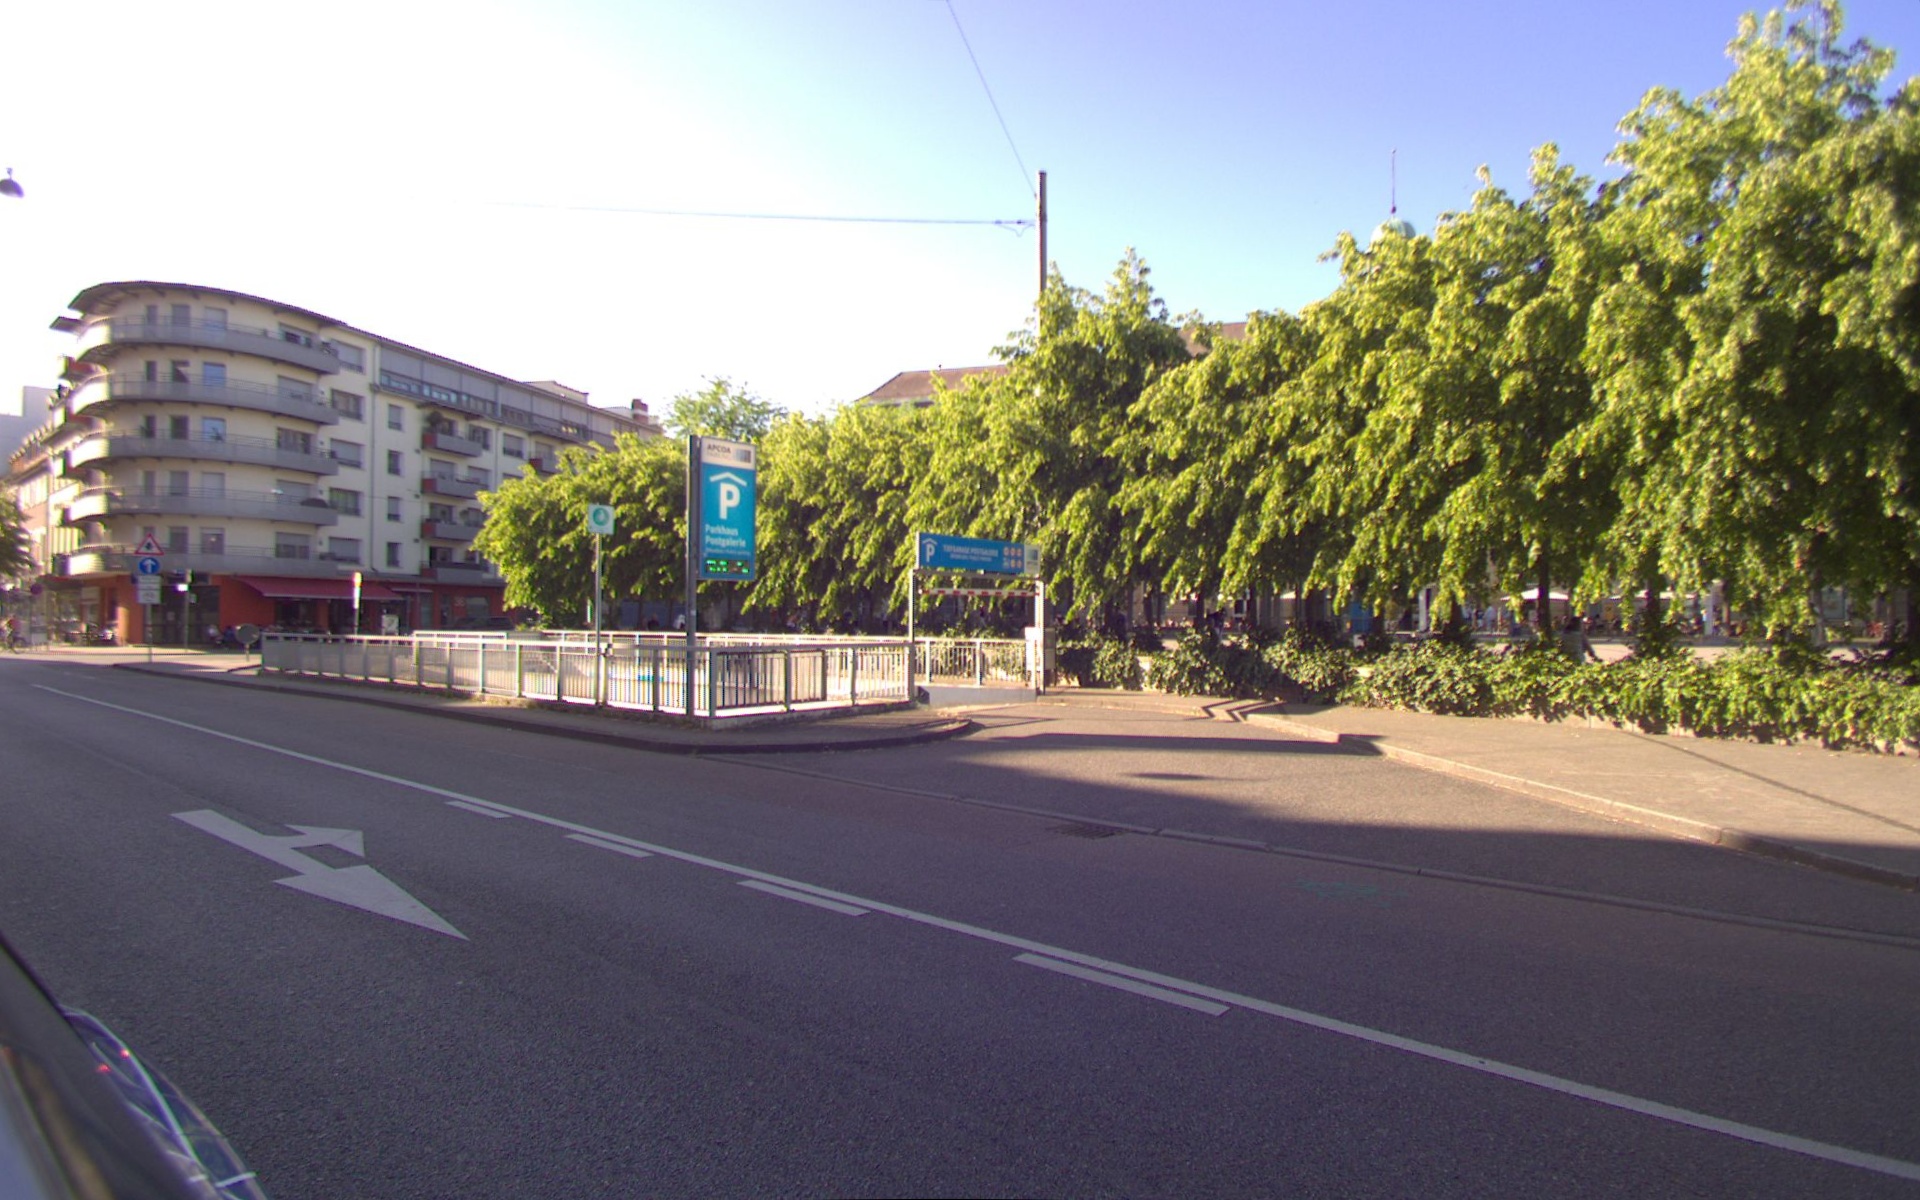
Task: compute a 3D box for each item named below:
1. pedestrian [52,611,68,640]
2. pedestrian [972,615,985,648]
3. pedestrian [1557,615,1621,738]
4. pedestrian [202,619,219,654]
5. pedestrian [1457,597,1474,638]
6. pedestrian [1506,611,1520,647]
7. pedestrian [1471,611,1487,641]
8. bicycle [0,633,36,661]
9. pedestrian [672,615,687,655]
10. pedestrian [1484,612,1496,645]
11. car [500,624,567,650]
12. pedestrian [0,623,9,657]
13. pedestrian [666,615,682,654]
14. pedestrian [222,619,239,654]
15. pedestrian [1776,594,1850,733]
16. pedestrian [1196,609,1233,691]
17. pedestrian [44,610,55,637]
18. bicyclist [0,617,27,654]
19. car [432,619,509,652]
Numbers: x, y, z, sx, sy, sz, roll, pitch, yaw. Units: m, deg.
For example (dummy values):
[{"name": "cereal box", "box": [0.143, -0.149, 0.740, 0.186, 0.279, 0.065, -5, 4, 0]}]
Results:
[{"name": "pedestrian", "box": [-51.026, 1.454, 57.382, 0.792, 1.634, 0.563, -1, -1, 37]}, {"name": "pedestrian", "box": [1.043, 1.767, 57.149, 0.578, 1.806, 0.597, -1, 0, 20]}, {"name": "pedestrian", "box": [9.874, 1.174, 15.881, 0.732, 1.870, 0.574, -1, -1, 44]}, {"name": "pedestrian", "box": [-37.438, 1.806, 50.559, 0.642, 1.721, 0.568, -2, -2, 43]}, {"name": "pedestrian", "box": [22.703, 0.780, 45.462, 0.599, 1.806, 0.576, -1, -1, 31]}, {"name": "pedestrian", "box": [28.533, 1.500, 52.238, 0.580, 1.806, 0.596, -1, 0, 27]}, {"name": "pedestrian", "box": [30.979, 1.537, 60.415, 0.593, 1.806, 0.583, -1, 0, 0]}, {"name": "bicycle", "box": [-42.634, 2.084, 45.326, 1.848, 1.221, 0.713, -1, -1, 2]}, {"name": "pedestrian", "box": [-12.851, 1.597, 46.340, 0.574, 1.806, 0.602, 0, 0, -5]}, {"name": "pedestrian", "box": [29.231, 1.569, 55.820, 0.598, 1.806, 0.577, -1, 0, 27]}, {"name": "car", "box": [-28.885, 2.482, 68.610, 1.938, 1.633, 4.272, -1, -1, 16]}, {"name": "pedestrian", "box": [-46.800, 1.944, 49.156, 0.695, 1.627, 0.765, -1, -1, 37]}, {"name": "pedestrian", "box": [-13.262, 1.604, 46.956, 0.574, 1.806, 0.602, 0, 0, -5]}, {"name": "pedestrian", "box": [-36.777, 1.826, 51.001, 0.642, 1.721, 0.568, -2, -2, 43]}, {"name": "pedestrian", "box": [11.776, 0.856, 13.988, 0.597, 1.870, 0.578, -1, 0, 22]}, {"name": "pedestrian", "box": [5.911, 1.152, 23.487, 0.674, 1.870, 0.577, -1, -1, 30]}, {"name": "pedestrian", "box": [-51.380, 1.331, 57.127, 0.515, 1.541, 0.371, -1, -1, 37]}, {"name": "bicyclist", "box": [-42.593, 1.592, 45.333, 0.962, 1.627, 0.713, -1, 0, 1]}, {"name": "car", "box": [-30.496, 2.203, 63.192, 1.938, 1.927, 4.403, -1, -1, 16]}]
